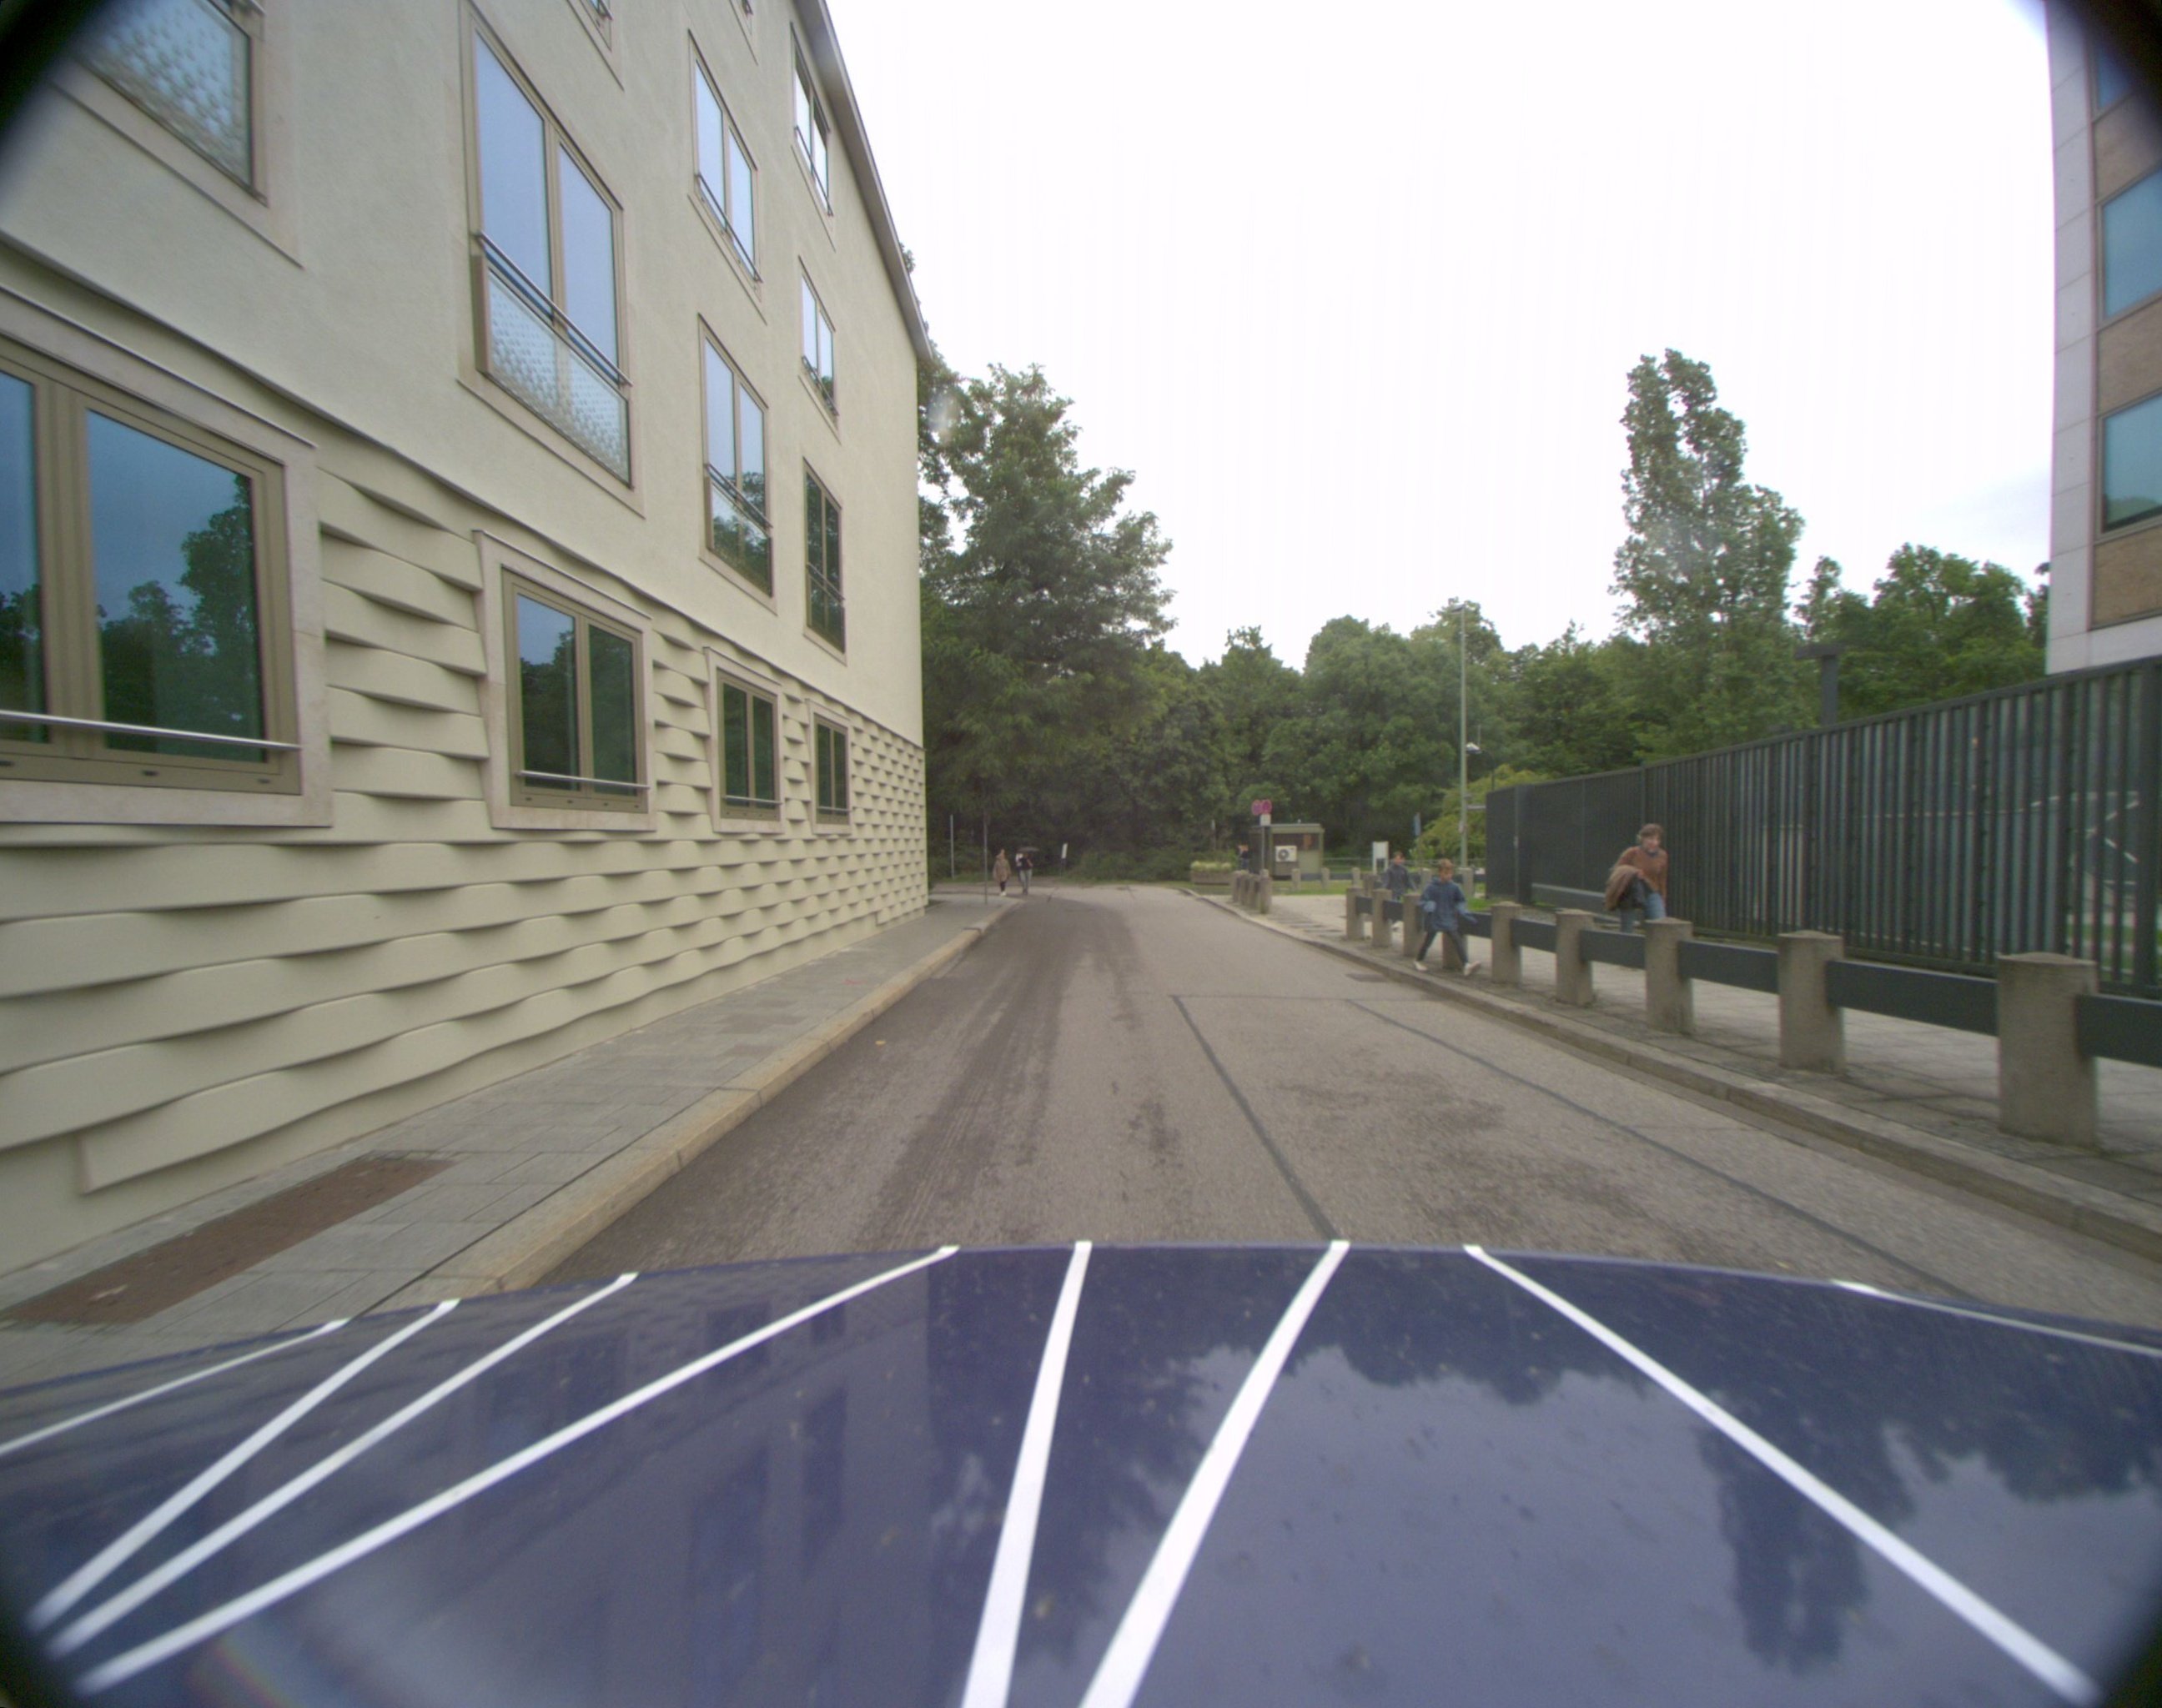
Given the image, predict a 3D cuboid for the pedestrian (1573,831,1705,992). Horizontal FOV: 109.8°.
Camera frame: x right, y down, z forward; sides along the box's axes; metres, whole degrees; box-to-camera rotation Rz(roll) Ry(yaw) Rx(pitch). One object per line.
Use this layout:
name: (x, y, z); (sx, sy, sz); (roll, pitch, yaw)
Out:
pedestrian: (6.308, 0.618, 8.646); (0.826, 1.713, 0.906); (-3, 1, 5)

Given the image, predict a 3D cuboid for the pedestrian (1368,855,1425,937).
pedestrian: (6.238, 0.809, 15.055); (0.778, 1.531, 0.933); (-3, 1, 8)

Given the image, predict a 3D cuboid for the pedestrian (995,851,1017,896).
pedestrian: (-2.796, 0.716, 28.338); (0.753, 1.671, 0.655); (-1, 1, -1)

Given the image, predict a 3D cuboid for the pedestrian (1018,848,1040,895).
pedestrian: (-1.961, 0.656, 28.734); (0.753, 1.726, 0.853); (-1, 1, -1)

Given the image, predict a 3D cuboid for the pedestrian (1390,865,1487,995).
pedestrian: (4.347, 0.886, 9.313); (0.640, 1.459, 1.079); (-3, 1, 1)
